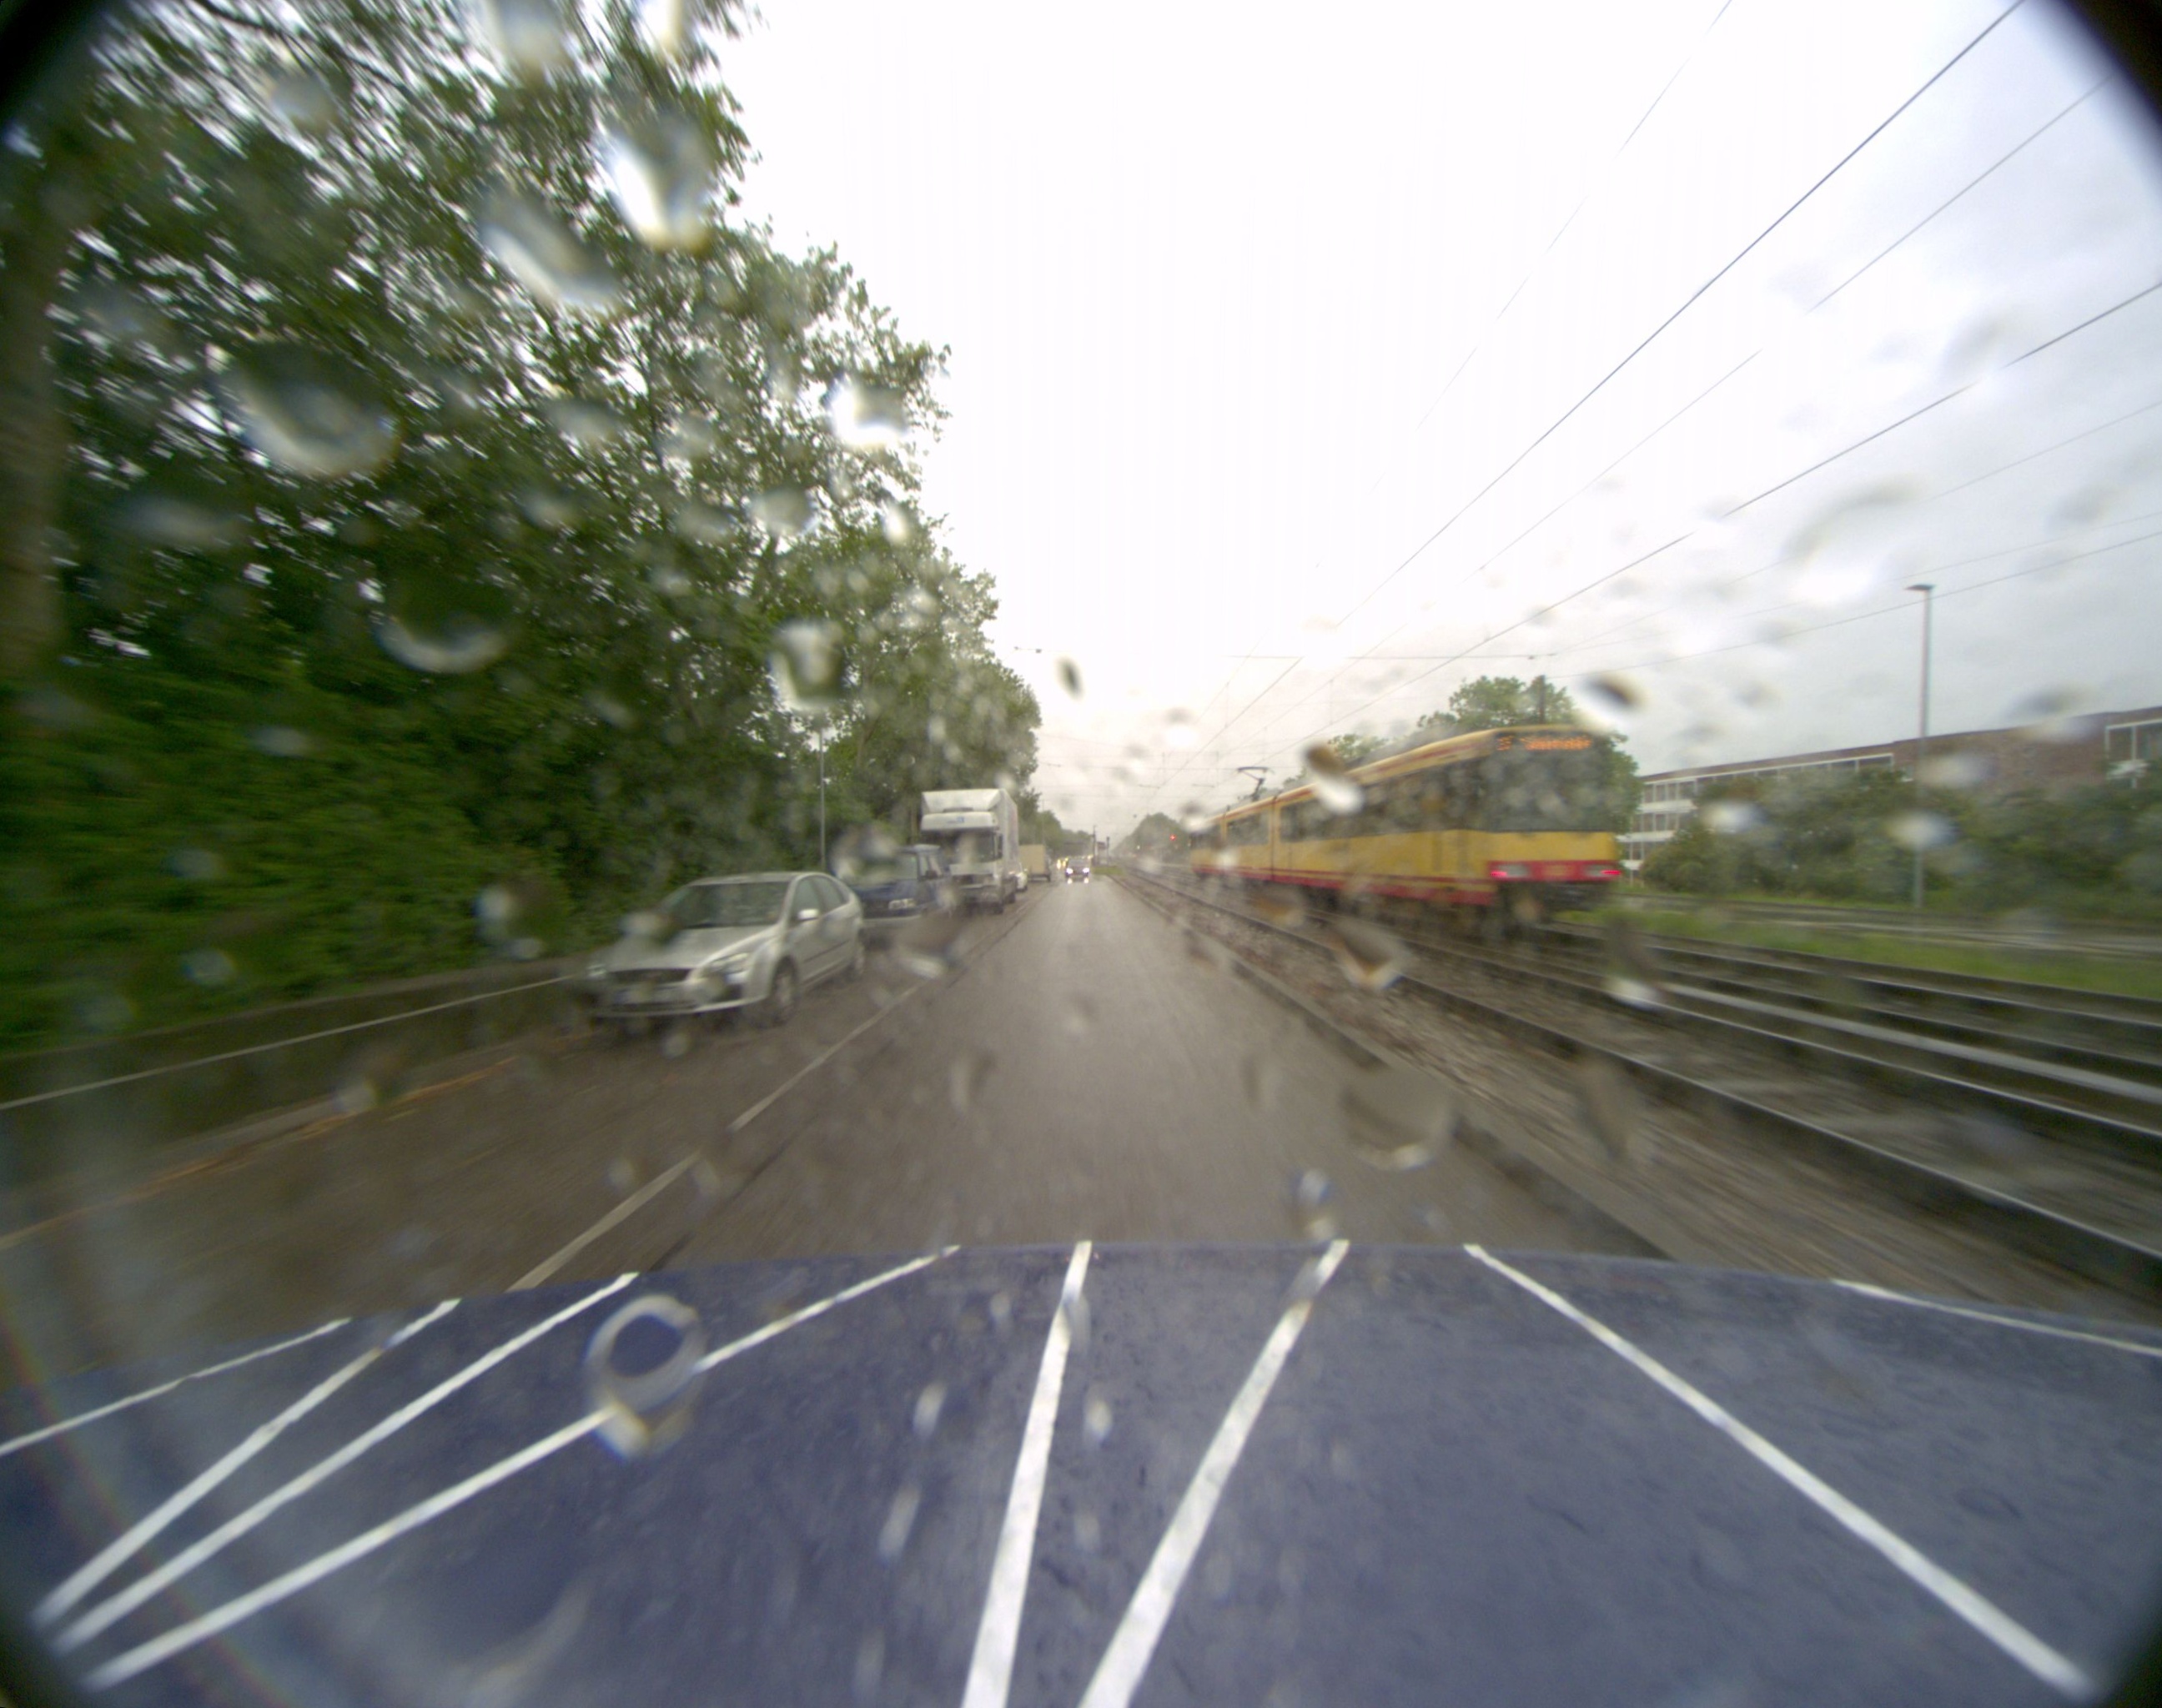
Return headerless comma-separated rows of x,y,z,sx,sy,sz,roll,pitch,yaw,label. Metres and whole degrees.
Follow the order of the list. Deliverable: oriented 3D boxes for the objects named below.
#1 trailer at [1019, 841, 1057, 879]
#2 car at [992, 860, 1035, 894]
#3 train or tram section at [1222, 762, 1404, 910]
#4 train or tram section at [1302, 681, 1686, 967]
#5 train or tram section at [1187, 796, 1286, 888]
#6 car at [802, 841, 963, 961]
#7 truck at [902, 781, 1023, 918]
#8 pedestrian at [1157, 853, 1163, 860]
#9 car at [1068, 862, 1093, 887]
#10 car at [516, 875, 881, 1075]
-3.224,0.398,58.268,2.171,2.741,5.677,-1,1,3,trailer
-3.454,1.154,39.513,1.717,1.520,4.000,-6,0,0,car
7.756,-0.551,27.954,2.813,4.125,13.018,-1,0,1,train or tram section
7.550,-0.492,16.273,2.817,4.126,10.268,-1,1,1,train or tram section
7.954,-0.546,40.984,2.813,4.125,13.019,-1,0,1,train or tram section
-3.812,0.823,15.628,1.881,2.002,4.980,-2,0,1,car
-3.608,-0.187,25.753,2.783,3.683,9.849,-1,1,-2,truck
13.740,0.433,132.411,0.833,1.308,0.858,-2,0,2,pedestrian
0.003,1.769,67.248,1.998,2.002,4.000,-1,0,2,car
-3.778,1.078,8.544,1.817,1.451,4.345,-2,1,0,car
